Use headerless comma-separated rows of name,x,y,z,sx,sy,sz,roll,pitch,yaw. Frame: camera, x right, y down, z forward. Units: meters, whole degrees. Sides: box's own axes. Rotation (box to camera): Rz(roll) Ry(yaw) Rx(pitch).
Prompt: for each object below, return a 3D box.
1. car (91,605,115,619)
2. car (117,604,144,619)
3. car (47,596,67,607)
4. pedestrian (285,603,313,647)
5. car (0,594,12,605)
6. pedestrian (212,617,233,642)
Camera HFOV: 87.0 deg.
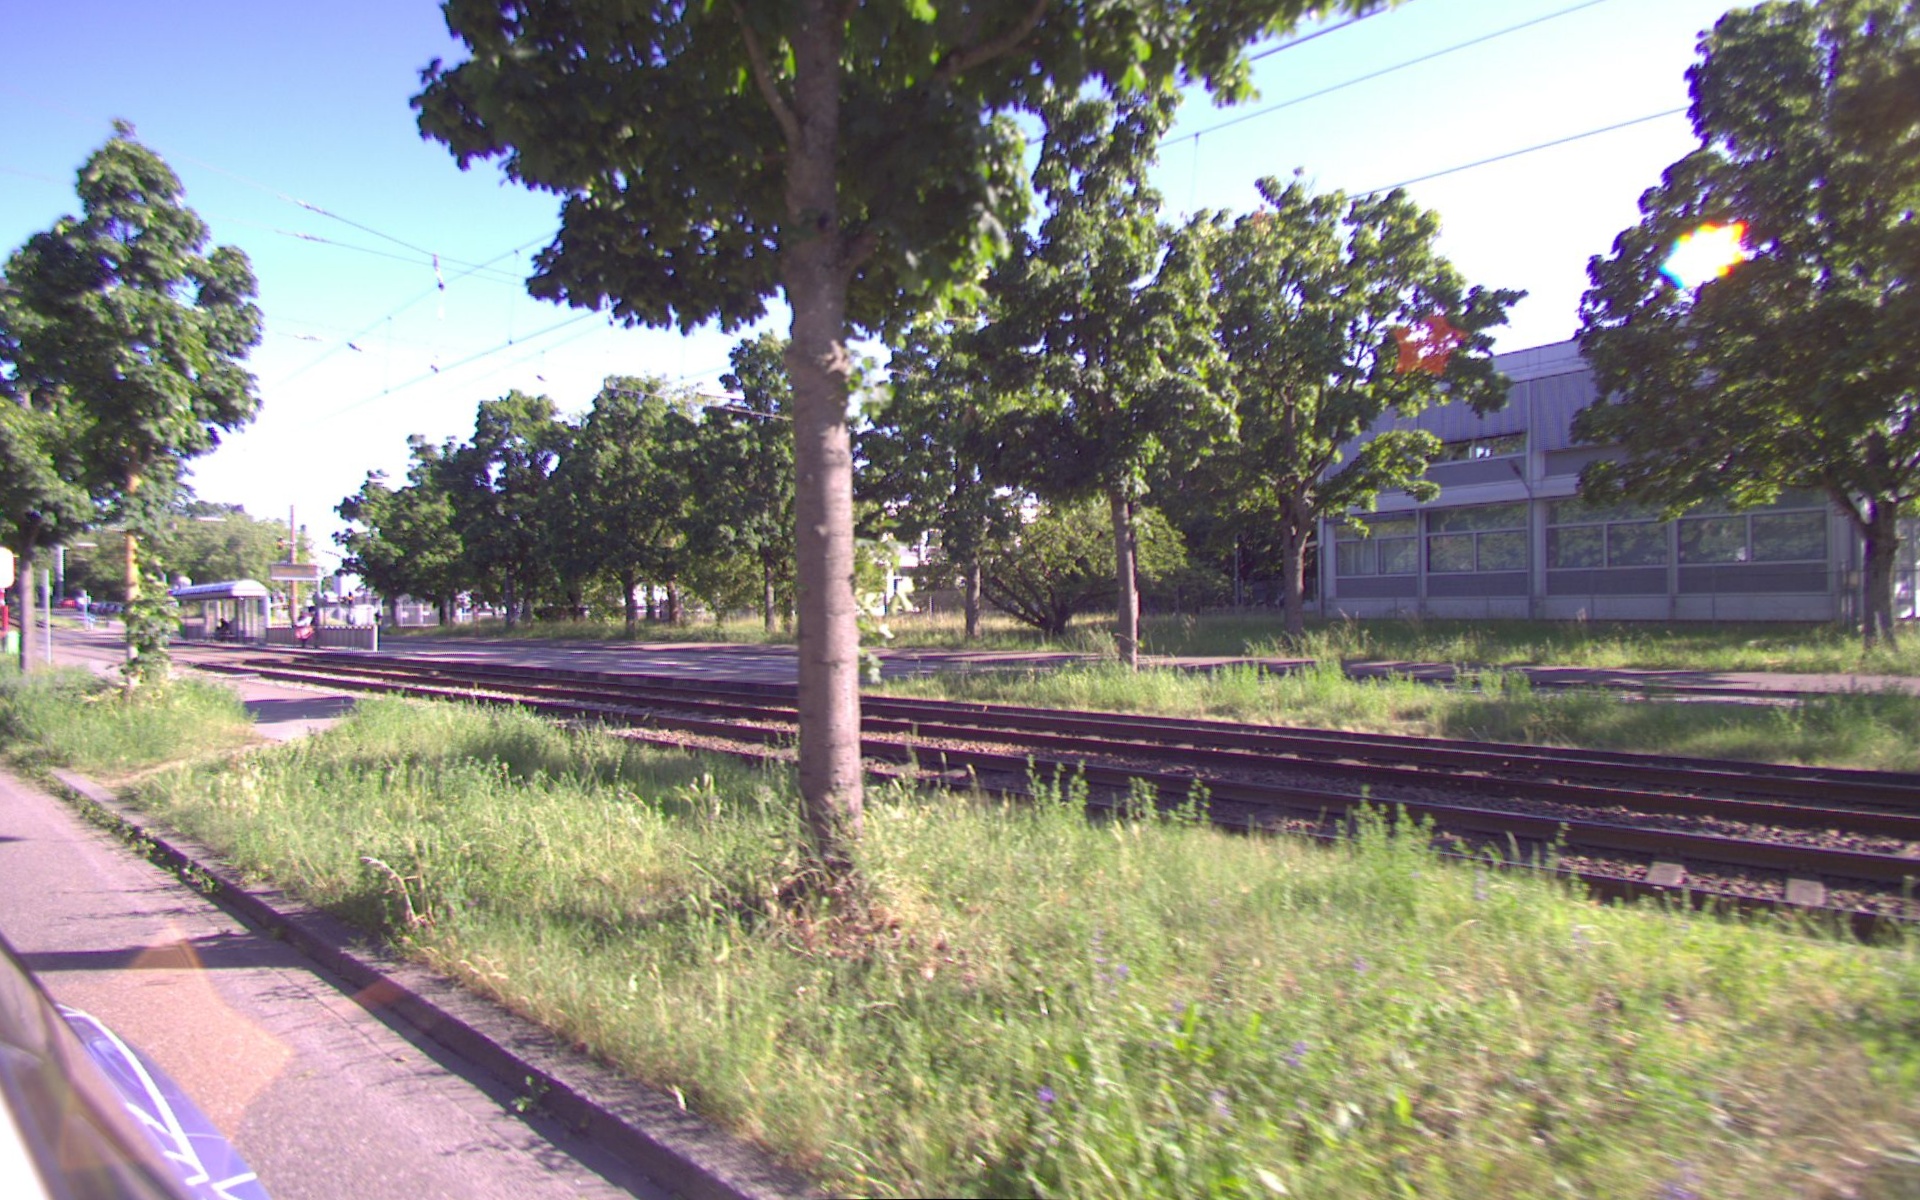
car,-104.673,1.482,123.538,3.454,1.597,1.680,-1,-1,40
car,-90.794,1.225,110.769,3.454,1.597,1.749,-1,-1,40
car,-134.498,0.293,150.703,3.454,1.597,1.680,-1,-1,40
pedestrian,-26.866,1.021,41.139,0.781,1.765,0.776,-1,0,40
car,-152.260,-0.058,160.973,3.454,1.597,1.680,-1,-1,40
pedestrian,-37.202,1.487,51.061,0.679,1.258,0.643,-1,-3,33
